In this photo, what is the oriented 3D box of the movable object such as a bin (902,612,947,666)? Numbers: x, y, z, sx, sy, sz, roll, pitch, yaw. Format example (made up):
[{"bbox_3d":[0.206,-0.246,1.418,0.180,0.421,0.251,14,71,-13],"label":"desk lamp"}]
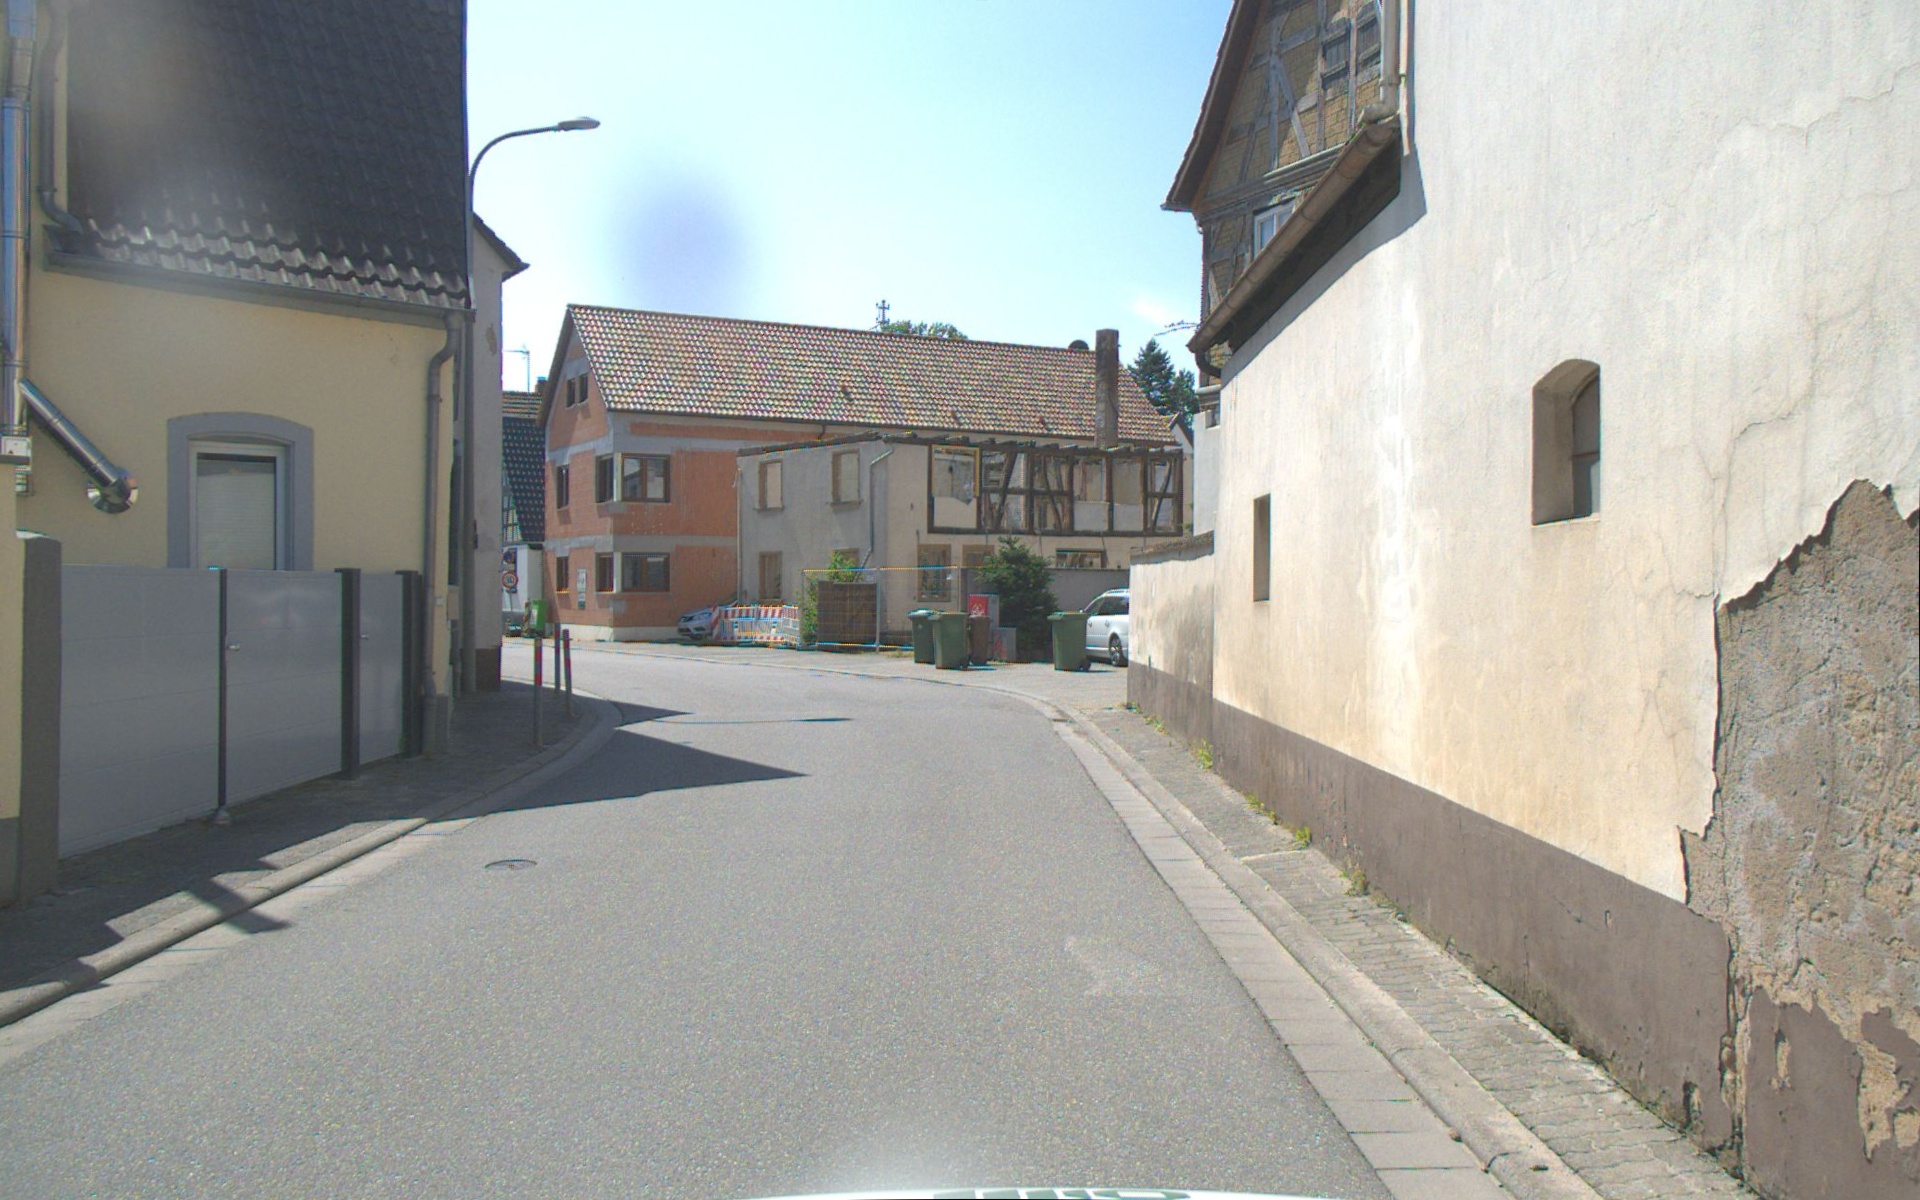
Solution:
[{"bbox_3d":[-0.735,0.809,34.583,0.657,1.091,0.761,1,0,26],"label":"movable object such as a bin"}]

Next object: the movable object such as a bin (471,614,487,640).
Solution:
[{"bbox_3d":[-16.984,0.945,58.386,0.529,0.929,0.549,0,0,-14],"label":"movable object such as a bin"}]

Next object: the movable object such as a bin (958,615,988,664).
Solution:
[{"bbox_3d":[0.268,0.797,33.695,0.459,0.987,0.492,1,0,-24],"label":"movable object such as a bin"}]

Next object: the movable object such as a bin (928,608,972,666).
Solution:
[{"bbox_3d":[-0.202,0.724,32.339,0.677,1.111,0.633,1,0,-23],"label":"movable object such as a bin"}]

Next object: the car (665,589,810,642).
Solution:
[{"bbox_3d":[-6.761,0.453,50.442,4.057,1.533,1.846,-1,0,-37],"label":"car"}]

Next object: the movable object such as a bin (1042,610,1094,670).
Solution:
[{"bbox_3d":[2.037,0.755,31.294,0.711,1.100,0.749,1,0,-26],"label":"movable object such as a bin"}]

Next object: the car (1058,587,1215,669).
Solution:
[{"bbox_3d":[3.561,0.521,34.090,1.781,1.555,4.278,0,1,-16],"label":"car"}]
